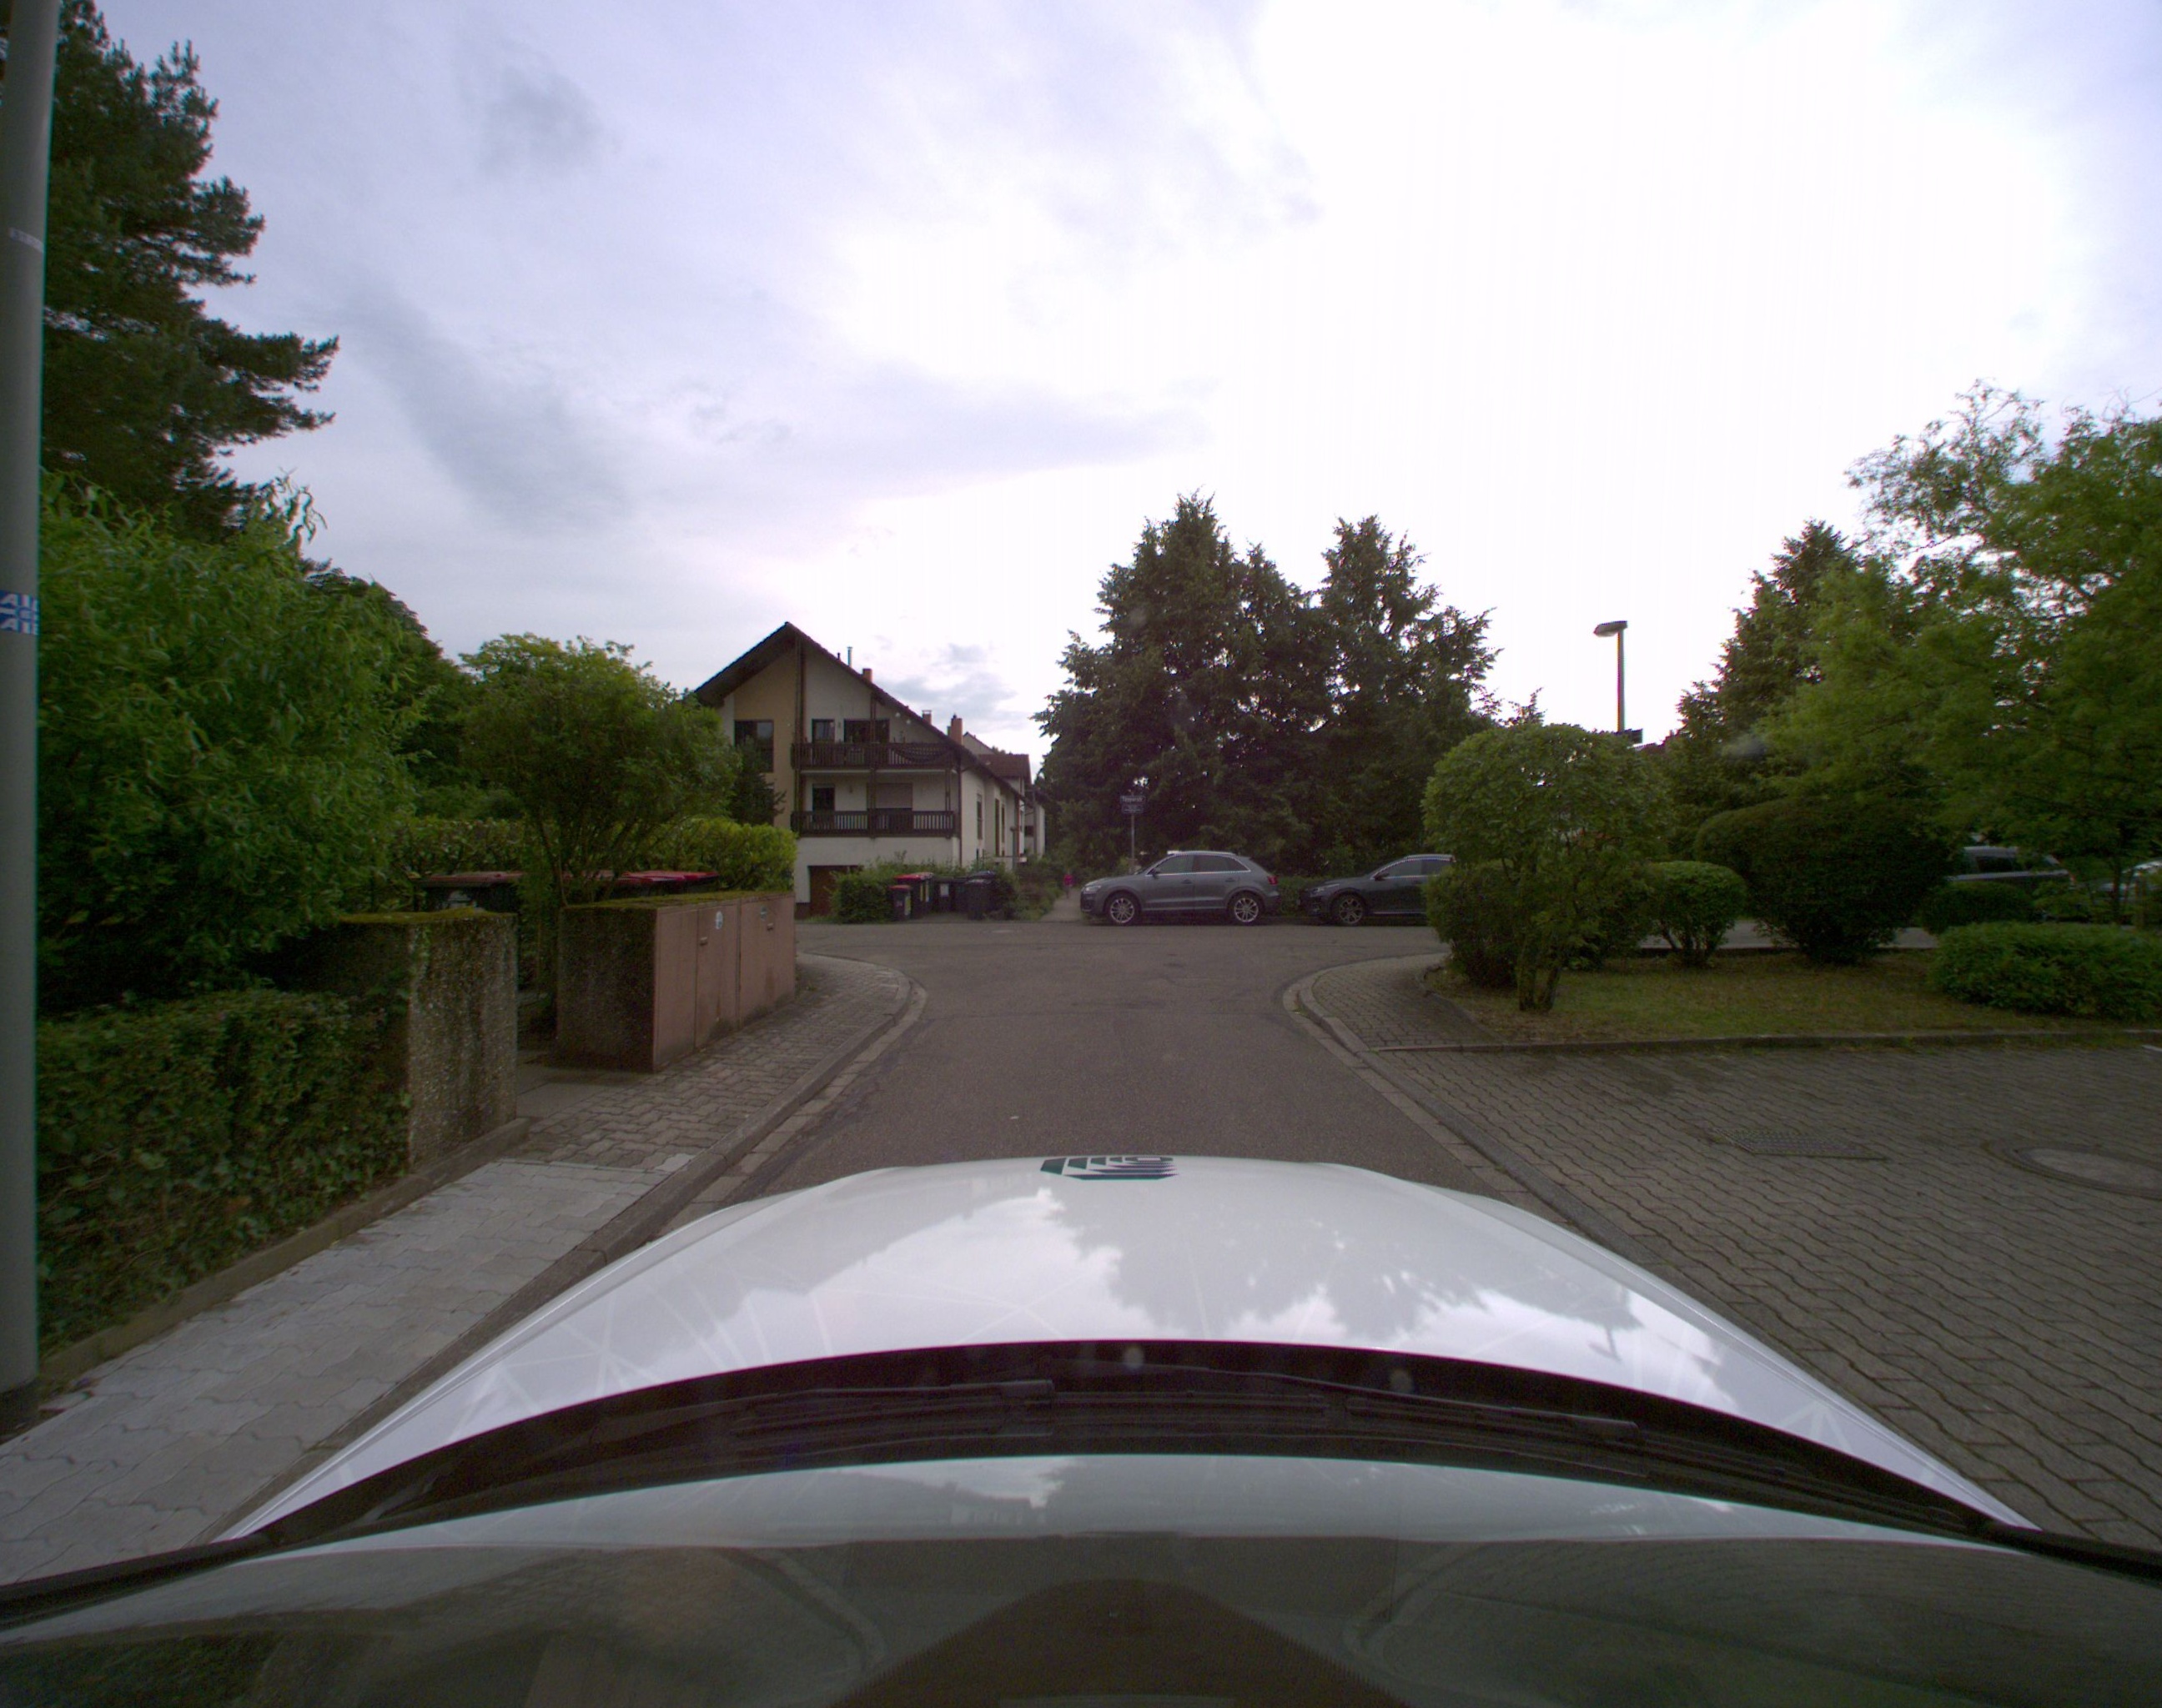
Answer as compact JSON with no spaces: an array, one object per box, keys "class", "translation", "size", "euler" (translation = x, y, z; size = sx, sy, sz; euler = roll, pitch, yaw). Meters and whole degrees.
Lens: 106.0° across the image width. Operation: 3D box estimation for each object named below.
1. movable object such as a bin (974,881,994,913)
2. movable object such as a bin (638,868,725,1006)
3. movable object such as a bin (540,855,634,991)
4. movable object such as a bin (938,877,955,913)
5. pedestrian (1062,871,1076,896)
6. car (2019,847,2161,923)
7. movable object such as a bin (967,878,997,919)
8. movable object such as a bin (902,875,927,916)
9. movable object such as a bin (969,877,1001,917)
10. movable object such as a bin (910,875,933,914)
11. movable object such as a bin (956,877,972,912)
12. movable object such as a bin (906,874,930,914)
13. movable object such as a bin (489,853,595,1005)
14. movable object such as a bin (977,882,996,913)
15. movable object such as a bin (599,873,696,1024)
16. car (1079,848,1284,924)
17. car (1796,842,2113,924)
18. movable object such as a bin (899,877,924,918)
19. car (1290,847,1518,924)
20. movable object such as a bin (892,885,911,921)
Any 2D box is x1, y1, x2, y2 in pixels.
[{"class":"movable object such as a bin","translation":[-2.503,1.102,21.077],"size":[0.458,0.797,0.379],"euler":[1,0,-2]},{"class":"movable object such as a bin","translation":[-3.606,0.729,7.376],"size":[0.503,1.187,0.515],"euler":[-2,0,-1]},{"class":"movable object such as a bin","translation":[-4.439,0.604,7.339],"size":[0.503,1.165,0.515],"euler":[-2,0,-1]},{"class":"movable object such as a bin","translation":[-3.523,1.067,21.290],"size":[0.385,0.901,0.379],"euler":[1,0,-2]},{"class":"pedestrian","translation":[-0.711,1.772,49.106],"size":[0.813,1.517,0.438],"euler":[-1,-1,-2]},{"class":"car","translation":[22.666,0.632,16.819],"size":[4.270,1.479,1.765],"euler":[-1,-2,5]},{"class":"movable object such as a bin","translation":[-2.399,1.078,19.782],"size":[0.636,0.953,0.723],"euler":[1,0,0]},{"class":"movable object such as a bin","translation":[-4.145,1.031,20.311],"size":[0.536,0.994,0.337],"euler":[1,0,-2]},{"class":"movable object such as a bin","translation":[-2.404,1.078,20.508],"size":[0.731,0.953,0.584],"euler":[1,0,0]},{"class":"movable object such as a bin","translation":[-4.145,1.039,21.163],"size":[0.536,0.994,0.337],"euler":[1,0,-2]},{"class":"movable object such as a bin","translation":[-3.060,1.064,21.307],"size":[0.385,0.890,0.379],"euler":[1,0,-2]},{"class":"movable object such as a bin","translation":[-4.142,1.015,20.672],"size":[0.536,0.994,0.337],"euler":[1,0,-2]},{"class":"movable object such as a bin","translation":[-4.425,0.595,6.714],"size":[0.503,1.187,0.515],"euler":[-2,0,-1]},{"class":"movable object such as a bin","translation":[-2.504,1.154,21.494],"size":[0.458,0.797,0.379],"euler":[1,0,-2]},{"class":"movable object such as a bin","translation":[-3.591,0.761,6.776],"size":[0.503,1.187,0.515],"euler":[-2,0,-1]},{"class":"car","translation":[2.077,0.687,17.648],"size":[4.223,1.531,1.747],"euler":[0,-2,0]},{"class":"car","translation":[17.939,0.614,16.908],"size":[4.519,1.594,1.764],"euler":[0,-2,3]},{"class":"movable object such as a bin","translation":[-4.144,1.065,19.939],"size":[0.536,0.994,0.379],"euler":[1,0,-2]},{"class":"car","translation":[6.697,0.678,17.245],"size":[4.161,1.531,1.749],"euler":[0,-2,5]},{"class":"movable object such as a bin","translation":[-4.296,1.181,19.512],"size":[0.385,0.836,0.379],"euler":[1,0,-2]}]
